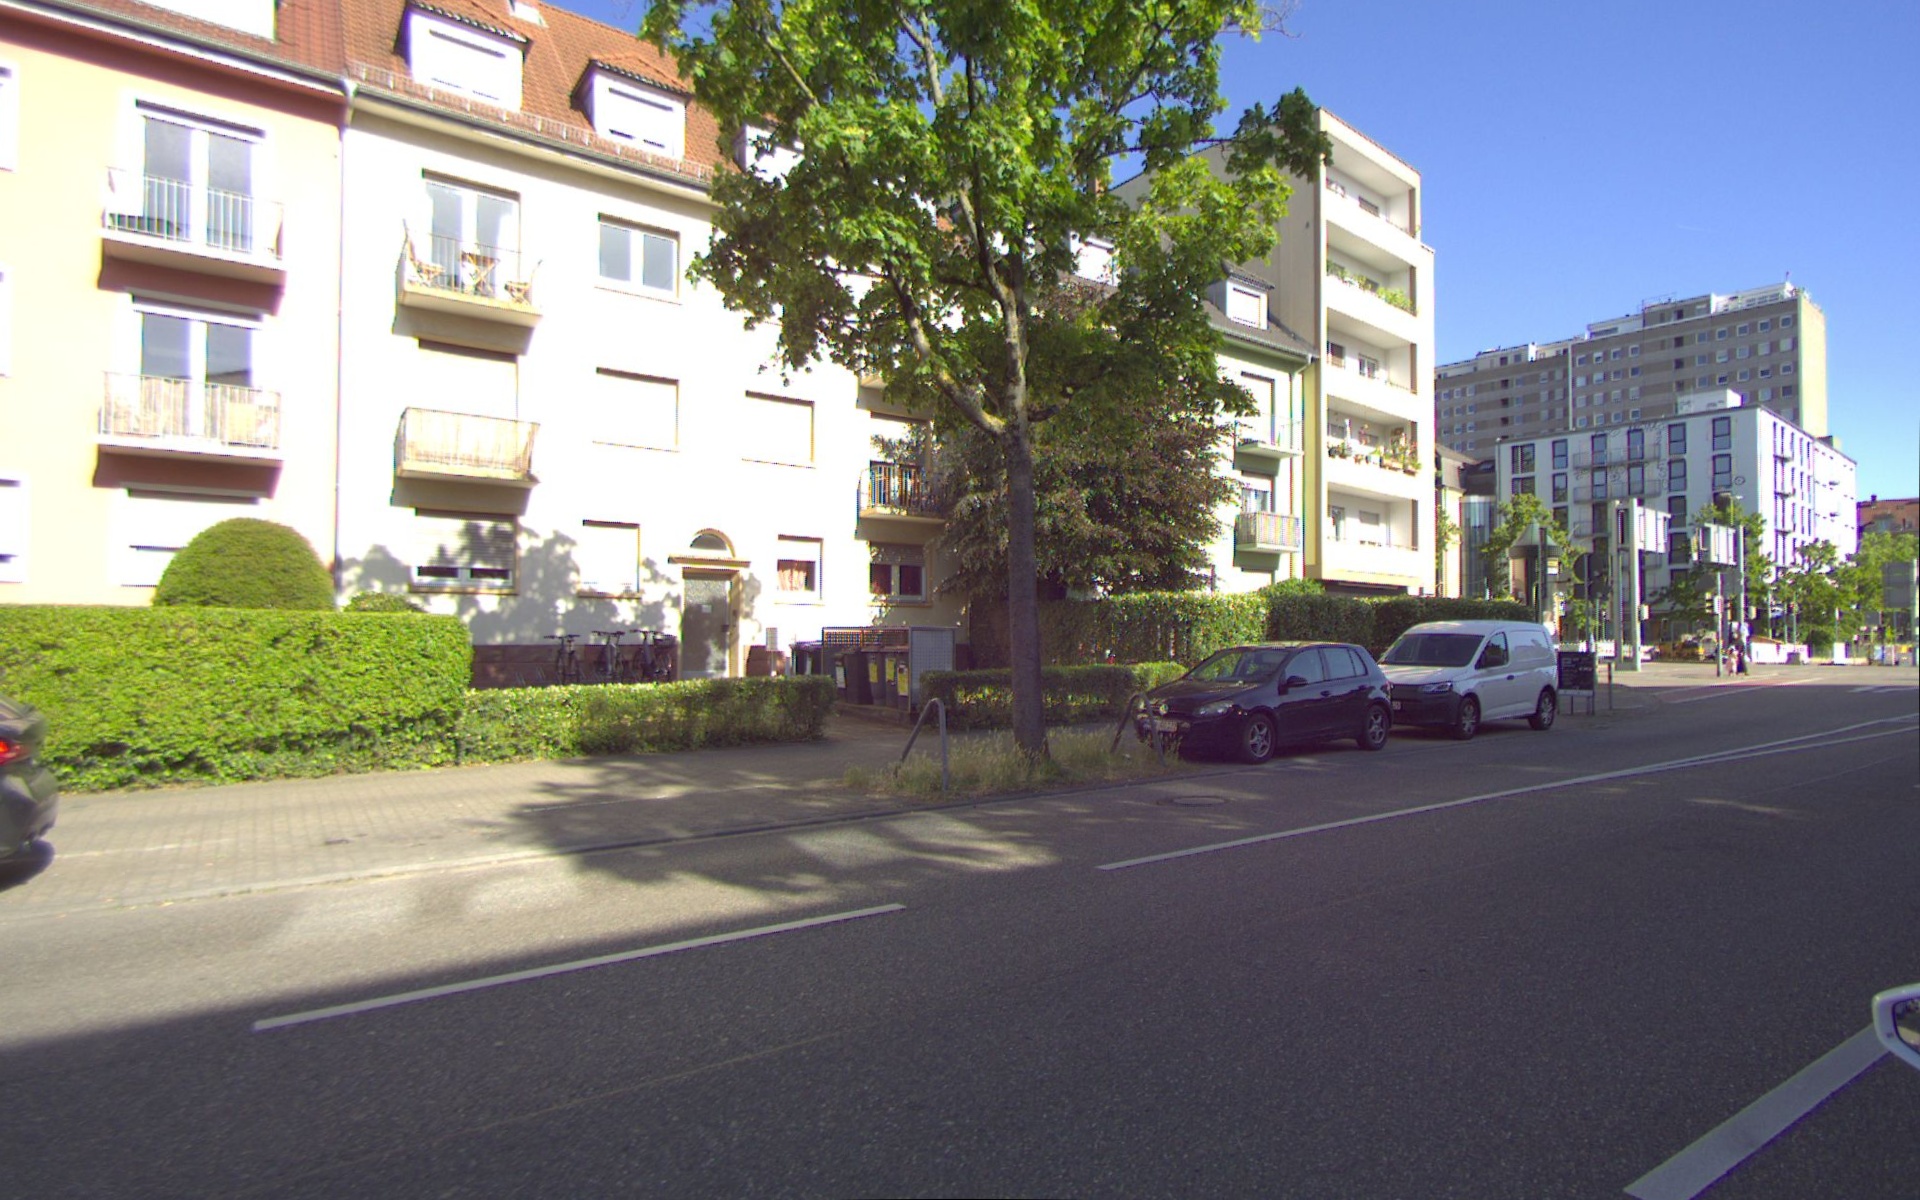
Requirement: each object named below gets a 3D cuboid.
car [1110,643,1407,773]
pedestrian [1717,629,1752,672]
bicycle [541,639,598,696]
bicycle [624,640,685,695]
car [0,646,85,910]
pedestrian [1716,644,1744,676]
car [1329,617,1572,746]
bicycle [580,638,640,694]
[{"bbox_3d":[4.065,1.326,13.464,4.069,1.476,1.661,1,-2,-35],"label":"car"},{"bbox_3d":[29.885,1.946,38.770,0.815,1.671,0.677,0,-2,12],"label":"pedestrian"},{"bbox_3d":[-6.942,1.162,17.810,0.566,0.942,2.105,1,-2,-32],"label":"bicycle"},{"bbox_3d":[-5.676,1.215,18.584,0.566,0.955,2.105,1,-2,-32],"label":"bicycle"},{"bbox_3d":[-7.330,0.988,5.047,4.329,1.427,1.753,1,-2,-39],"label":"car"},{"bbox_3d":[29.119,2.266,37.993,0.651,1.181,0.676,-1,-2,22],"label":"pedestrian"},{"bbox_3d":[8.202,1.246,16.652,4.520,1.858,1.805,1,-2,-37],"label":"car"},{"bbox_3d":[-6.382,1.172,18.247,0.566,0.941,2.105,1,-2,-32],"label":"bicycle"}]
